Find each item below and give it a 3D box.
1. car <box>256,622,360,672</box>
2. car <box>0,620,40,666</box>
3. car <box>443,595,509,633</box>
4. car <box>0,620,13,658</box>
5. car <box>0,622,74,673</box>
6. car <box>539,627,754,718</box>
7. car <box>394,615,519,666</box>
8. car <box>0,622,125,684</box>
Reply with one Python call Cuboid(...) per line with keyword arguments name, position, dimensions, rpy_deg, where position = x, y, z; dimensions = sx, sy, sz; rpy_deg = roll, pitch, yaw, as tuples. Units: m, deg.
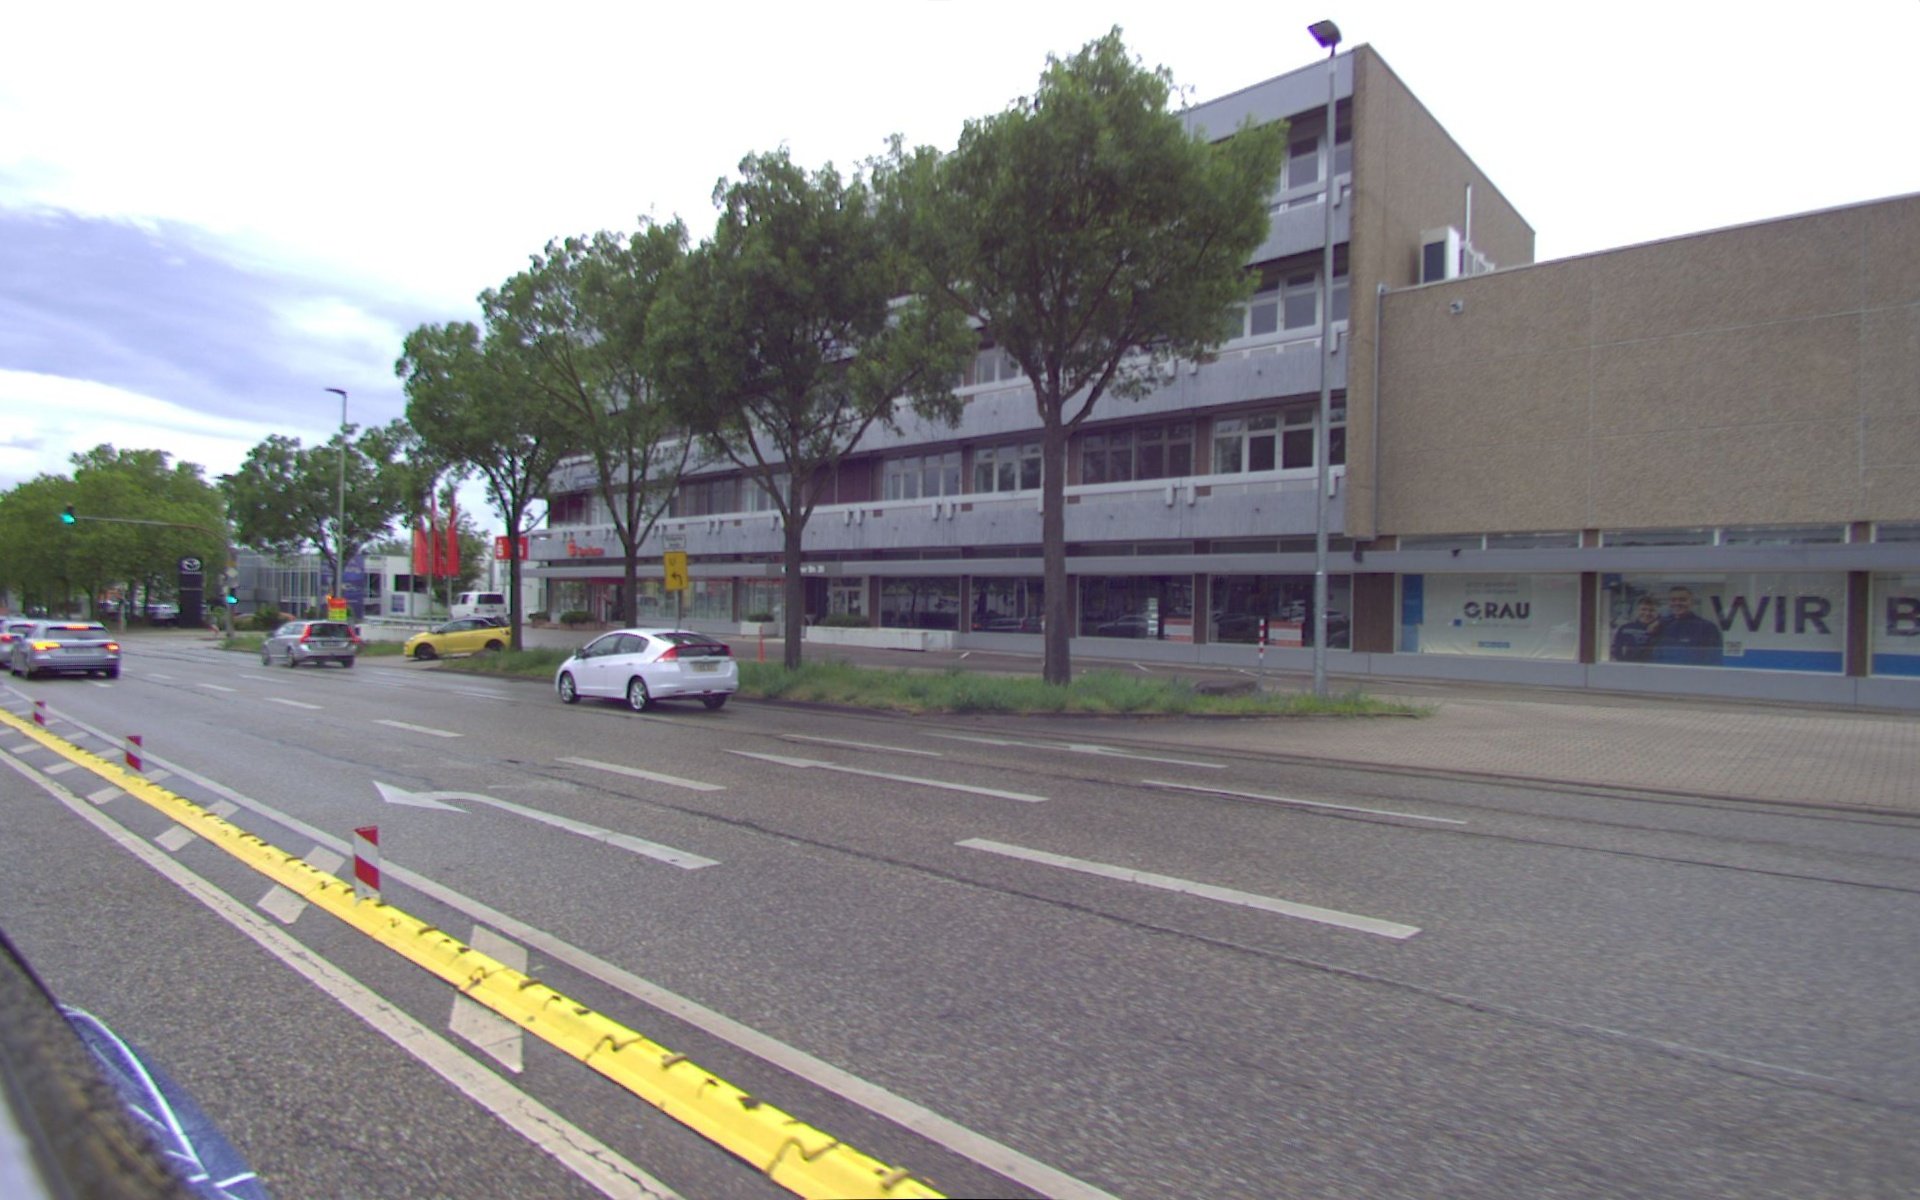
Cuboid(name="car", position=(-21.731, 1.523, 33.665), dimensions=(4.781, 1.564, 1.722), rpy_deg=(-1, -3, 43))
Cuboid(name="car", position=(-33.024, 1.446, 34.682), dimensions=(3.998, 1.536, 1.731), rpy_deg=(-1, -2, 41))
Cuboid(name="car", position=(-27.530, 0.790, 57.467), dimensions=(1.970, 2.029, 4.890), rpy_deg=(-2, 1, -43))
Cuboid(name="car", position=(-40.270, 1.576, 41.447), dimensions=(3.998, 1.522, 1.731), rpy_deg=(-1, -2, 41))
Cuboid(name="car", position=(-27.945, 1.383, 30.178), dimensions=(3.998, 1.417, 1.723), rpy_deg=(-1, -2, 41))
Cuboid(name="car", position=(-5.815, 1.240, 18.492), dimensions=(4.468, 1.417, 1.722), rpy_deg=(-1, -3, 43))
Cuboid(name="car", position=(-17.932, 1.426, 36.185), dimensions=(3.650, 1.520, 1.626), rpy_deg=(-2, 2, -13))
Cuboid(name="car", position=(-22.668, 1.278, 25.471), dimensions=(4.614, 1.417, 1.765), rpy_deg=(-1, -2, 41))
